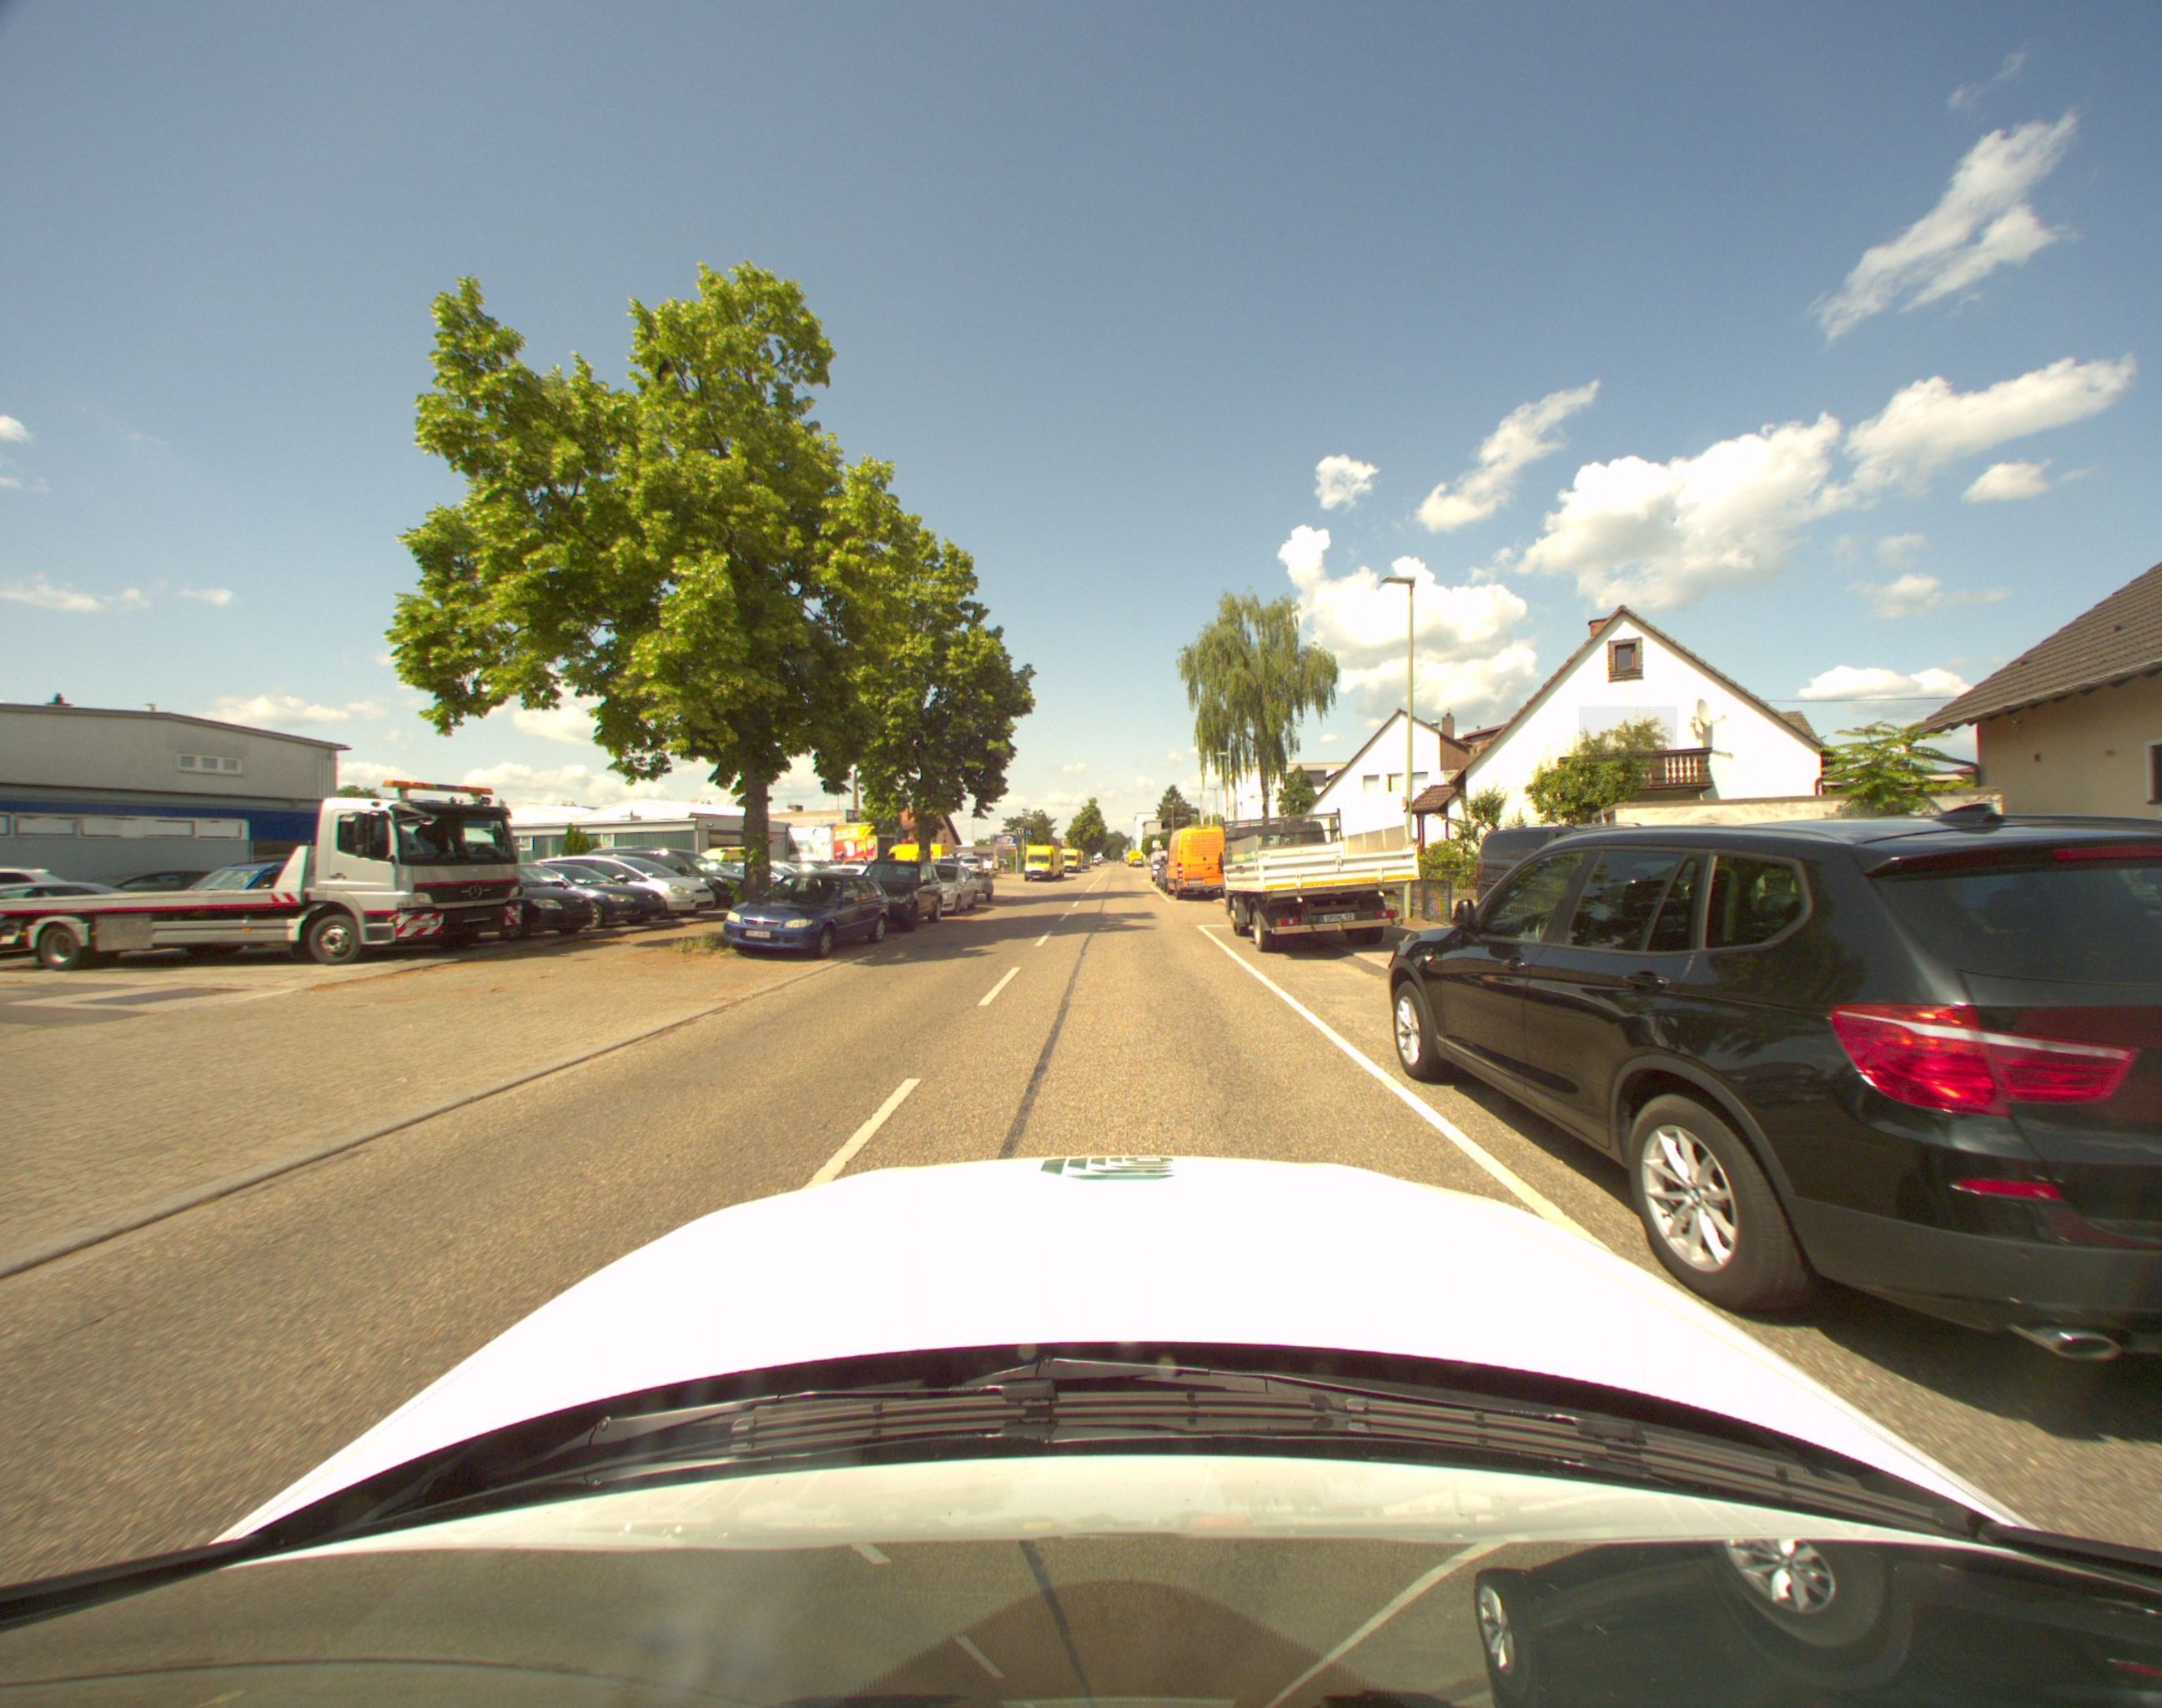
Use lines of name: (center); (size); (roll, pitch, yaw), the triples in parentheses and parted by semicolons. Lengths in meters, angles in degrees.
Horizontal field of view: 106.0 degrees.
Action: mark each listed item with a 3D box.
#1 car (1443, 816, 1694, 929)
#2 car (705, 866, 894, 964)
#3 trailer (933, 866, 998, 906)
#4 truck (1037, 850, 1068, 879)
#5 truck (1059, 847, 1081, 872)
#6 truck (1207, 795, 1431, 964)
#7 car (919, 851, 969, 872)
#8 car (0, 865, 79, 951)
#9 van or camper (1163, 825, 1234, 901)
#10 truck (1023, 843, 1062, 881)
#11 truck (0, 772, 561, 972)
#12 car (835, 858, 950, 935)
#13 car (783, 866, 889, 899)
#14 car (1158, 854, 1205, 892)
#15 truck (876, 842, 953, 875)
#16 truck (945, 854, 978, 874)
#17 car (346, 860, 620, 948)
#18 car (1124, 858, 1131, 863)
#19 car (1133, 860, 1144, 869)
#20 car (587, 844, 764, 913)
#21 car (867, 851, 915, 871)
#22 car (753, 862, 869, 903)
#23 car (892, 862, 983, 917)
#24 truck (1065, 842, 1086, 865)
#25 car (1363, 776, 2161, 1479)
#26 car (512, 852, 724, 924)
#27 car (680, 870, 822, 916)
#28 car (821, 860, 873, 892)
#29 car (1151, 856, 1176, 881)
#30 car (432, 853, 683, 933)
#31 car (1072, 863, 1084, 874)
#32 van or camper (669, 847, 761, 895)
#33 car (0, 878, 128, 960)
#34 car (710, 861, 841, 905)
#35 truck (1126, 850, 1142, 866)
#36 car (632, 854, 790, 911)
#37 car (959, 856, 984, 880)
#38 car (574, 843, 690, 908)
car: (9.369, 0.325, 16.288); (1.852, 1.865, 5.016); (-1, 0, -2)
car: (-5.054, 1.024, 15.299); (1.690, 1.483, 4.166); (1, 0, 6)
trailer: (-4.293, 1.162, 30.938); (1.755, 1.289, 4.508); (2, 0, 0)
truck: (-2.456, 0.891, 71.752); (1.985, 2.413, 6.070); (-1, 0, 4)
truck: (-1.290, 0.712, 98.081); (2.260, 2.855, 7.177); (0, -1, 2)
truck: (3.957, 0.388, 14.941); (2.512, 2.299, 5.899); (-4, 0, 3)
car: (-12.084, 0.647, 71.918); (3.902, 1.810, 1.861); (1, 0, 12)
car: (-23.224, 1.134, 16.150); (1.633, 1.757, 3.932); (-1, 0, 8)
van or camper: (4.479, 0.314, 31.868); (1.987, 2.664, 5.770); (-1, 0, 1)
truck: (-2.970, 0.587, 64.428); (2.210, 2.857, 7.077); (0, 0, 4)
truck: (-14.204, 0.347, 13.890); (9.209, 2.856, 2.725); (-2, 0, 6)
car: (-4.620, 0.975, 20.631); (1.686, 1.700, 4.402); (1, 0, 2)
car: (-10.628, 1.217, 35.461); (4.005, 1.374, 1.831); (-1, 0, 7)
car: (4.604, 0.833, 37.811); (1.825, 1.640, 4.242); (-1, 0, 2)
truck: (-15.534, 0.383, 76.013); (6.549, 2.850, 2.539); (1, 0, 15)
truck: (-15.709, 1.336, 107.717); (2.094, 2.488, 5.745); (-1, 0, 16)
car: (-11.634, 0.947, 15.993); (4.178, 1.459, 1.680); (-2, 0, 4)
car: (13.669, 1.877, 240.431); (1.920, 1.310, 4.002); (-1, 0, 2)
car: (9.575, 1.741, 136.313); (1.645, 1.387, 4.426); (0, 0, 3)
car: (-11.508, 0.699, 23.283); (4.124, 1.788, 1.829); (-2, -1, 5)
car: (-17.230, 0.606, 73.827); (3.816, 1.731, 1.738); (-2, 0, 13)
car: (-10.805, 1.144, 32.769); (4.007, 1.490, 1.829); (-2, -1, 5)
car: (-4.451, 1.066, 25.906); (1.825, 1.528, 4.242); (1, 0, 4)
truck: (-0.716, -0.052, 107.881); (2.307, 2.862, 7.108); (1, 0, 2)
car: (3.059, 0.648, 4.195); (1.822, 1.662, 4.557); (-1, 0, 3)
car: (-11.624, 0.819, 20.664); (4.279, 1.614, 1.828); (-2, 0, 1)
car: (-11.412, 1.339, 28.300); (4.124, 1.431, 1.829); (-2, -1, 5)
car: (-13.029, 1.179, 45.488); (1.433, 1.656, 3.310); (-2, 0, 10)
car: (5.584, 0.962, 55.567); (1.603, 1.580, 4.004); (0, 0, 4)
car: (-11.715, 0.845, 18.395); (4.504, 1.582, 1.829); (-2, 0, 4)
car: (-0.391, 2.258, 125.842); (1.718, 1.604, 4.414); (2, 0, 1)
van or camper: (-20.545, 0.871, 46.001); (1.981, 2.475, 5.377); (-1, 1, 10)
car: (-20.940, 1.241, 15.215); (1.633, 1.479, 3.767); (-1, 0, 8)
car: (-11.303, 1.056, 30.298); (4.124, 1.490, 1.829); (-2, -1, 5)
truck: (9.577, 0.697, 147.878); (2.465, 2.940, 7.190); (0, 0, 1)
car: (-11.600, 0.887, 25.700); (4.124, 1.618, 1.829); (-2, -1, 5)
car: (-8.871, 1.072, 66.256); (1.826, 1.705, 4.698); (-1, 2, -6)
car: (-15.164, 0.702, 27.778); (1.705, 2.013, 3.999); (-1, 0, 0)
